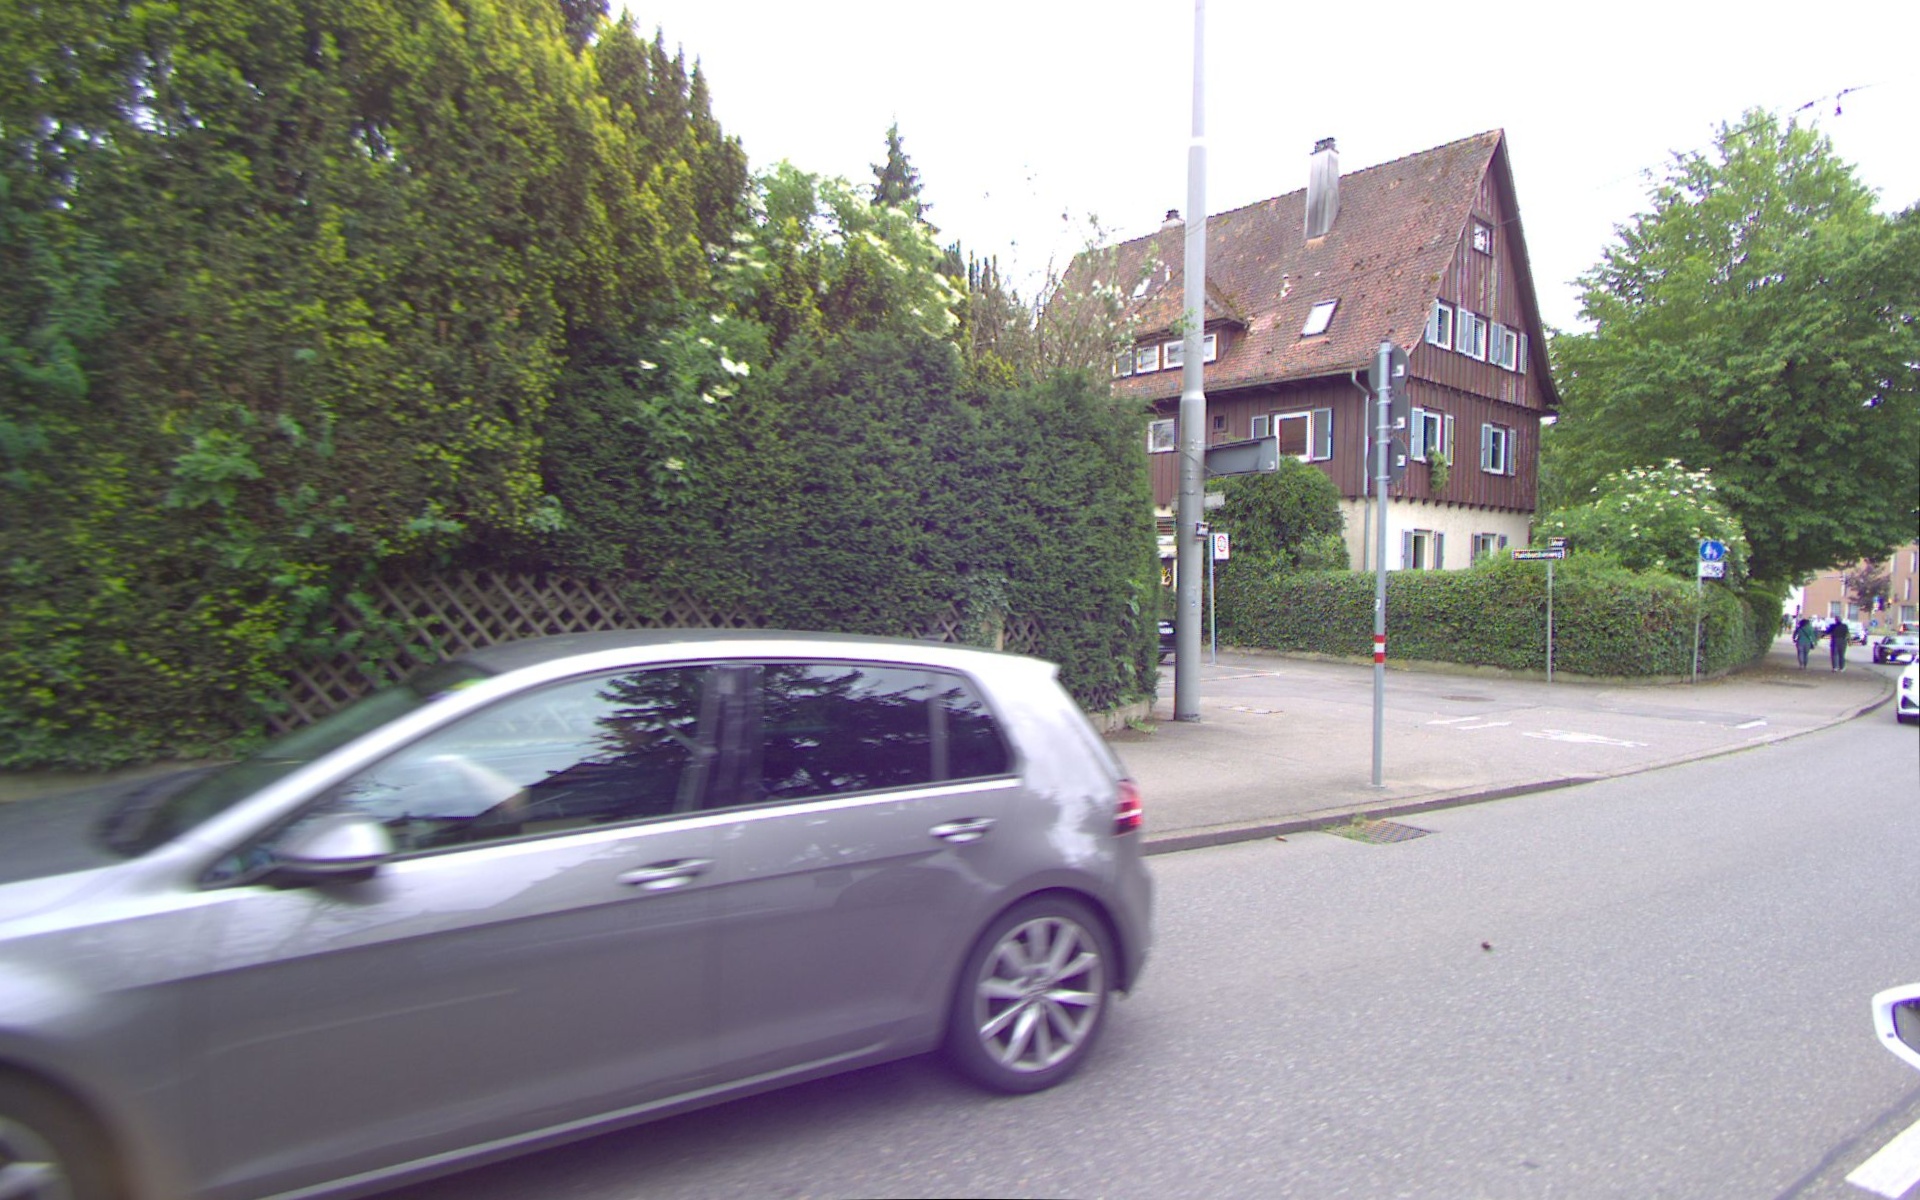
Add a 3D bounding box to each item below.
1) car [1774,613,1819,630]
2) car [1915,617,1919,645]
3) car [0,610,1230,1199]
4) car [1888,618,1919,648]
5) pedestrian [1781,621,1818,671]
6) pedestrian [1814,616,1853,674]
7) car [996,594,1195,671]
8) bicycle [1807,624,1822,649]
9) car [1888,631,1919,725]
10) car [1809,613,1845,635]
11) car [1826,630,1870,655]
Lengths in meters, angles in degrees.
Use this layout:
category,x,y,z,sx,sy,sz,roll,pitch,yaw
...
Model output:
category,x,y,z,sx,sy,sz,roll,pitch,yaw
car,110.080,2.766,132.209,3.919,2.041,2.001,2,1,13
car,72.842,2.355,74.835,4.394,2.041,1.944,-1,5,-42
car,-1.168,0.766,3.303,3.868,1.417,1.902,1,0,-33
car,58.460,2.042,61.450,3.965,1.729,1.878,1,1,-39
pedestrian,25.520,1.393,30.556,0.659,1.468,0.756,2,1,27
pedestrian,26.285,1.350,30.228,0.619,1.684,0.918,2,0,27
car,3.128,0.689,24.101,1.872,1.434,4.706,-1,3,-40
bicycle,62.867,2.649,73.909,0.749,1.768,1.863,1,0,39
car,16.884,1.289,16.827,4.171,1.462,1.789,2,-1,-45
car,71.009,1.958,82.349,1.807,1.652,4.268,1,0,35
car,56.920,2.700,64.421,1.697,1.491,3.520,0,0,35
